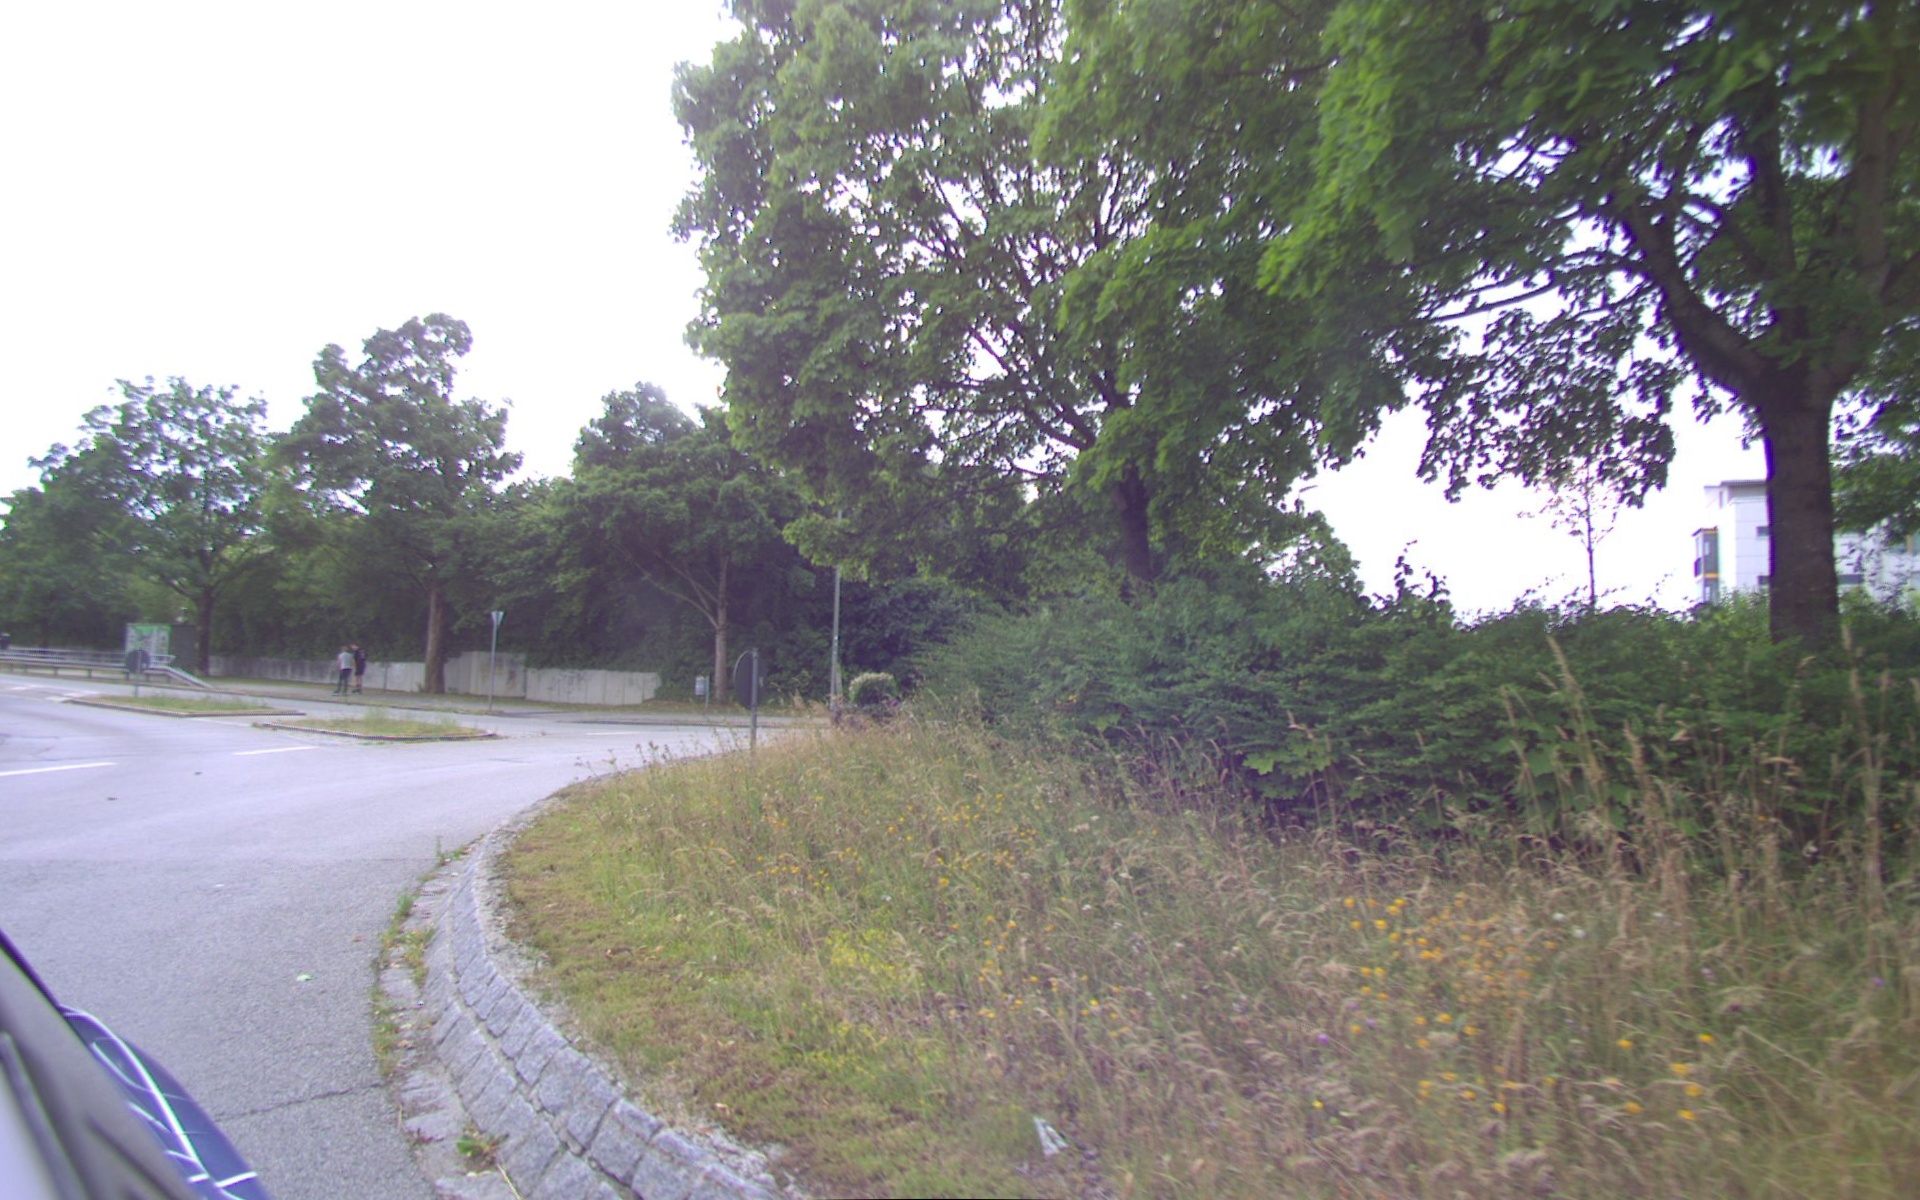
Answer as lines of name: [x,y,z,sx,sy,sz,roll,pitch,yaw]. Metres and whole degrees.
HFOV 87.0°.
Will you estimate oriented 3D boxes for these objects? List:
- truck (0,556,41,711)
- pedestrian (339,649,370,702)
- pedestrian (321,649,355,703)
truck: [-25.028,0.767,23.960,7.478,3.474,2.589,-1,-4,31]
pedestrian: [-21.312,2.661,35.634,0.612,1.823,0.630,-2,-5,25]
pedestrian: [-21.334,2.602,34.729,0.591,1.794,0.725,-2,-5,25]
